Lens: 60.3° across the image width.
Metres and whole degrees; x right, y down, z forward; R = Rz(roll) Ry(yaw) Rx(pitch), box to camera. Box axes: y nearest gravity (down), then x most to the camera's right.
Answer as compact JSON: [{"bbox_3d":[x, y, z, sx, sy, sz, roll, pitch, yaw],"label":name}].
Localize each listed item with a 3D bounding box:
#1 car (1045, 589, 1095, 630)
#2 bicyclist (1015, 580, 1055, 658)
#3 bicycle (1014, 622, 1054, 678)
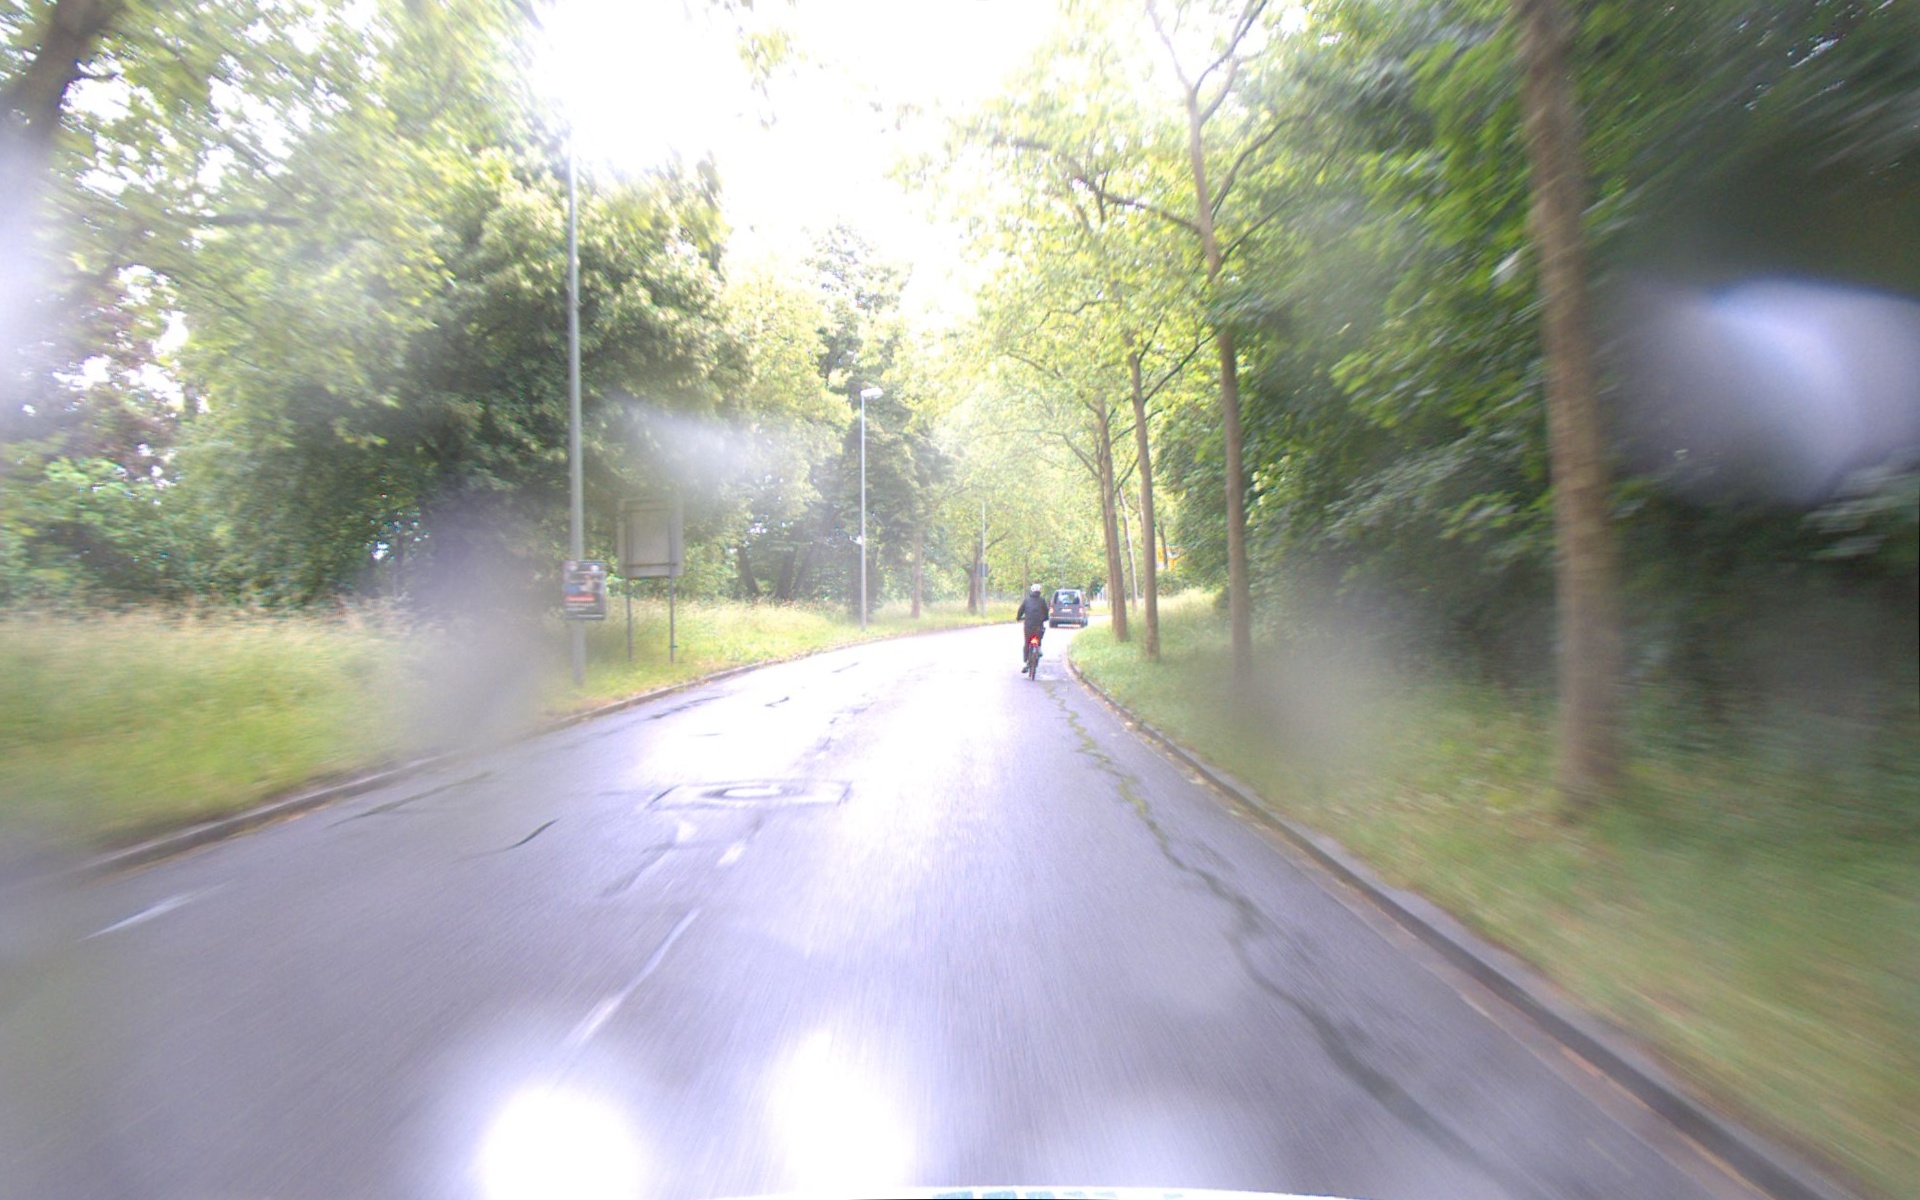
[{"bbox_3d":[5.435,0.468,81.236,1.943,1.959,4.003,0,0,11],"label":"car"},{"bbox_3d":[1.420,0.355,31.410,0.714,1.435,0.973,1,0,2],"label":"bicyclist"},{"bbox_3d":[1.419,0.932,31.677,0.714,0.991,2.173,1,0,2],"label":"bicycle"}]
